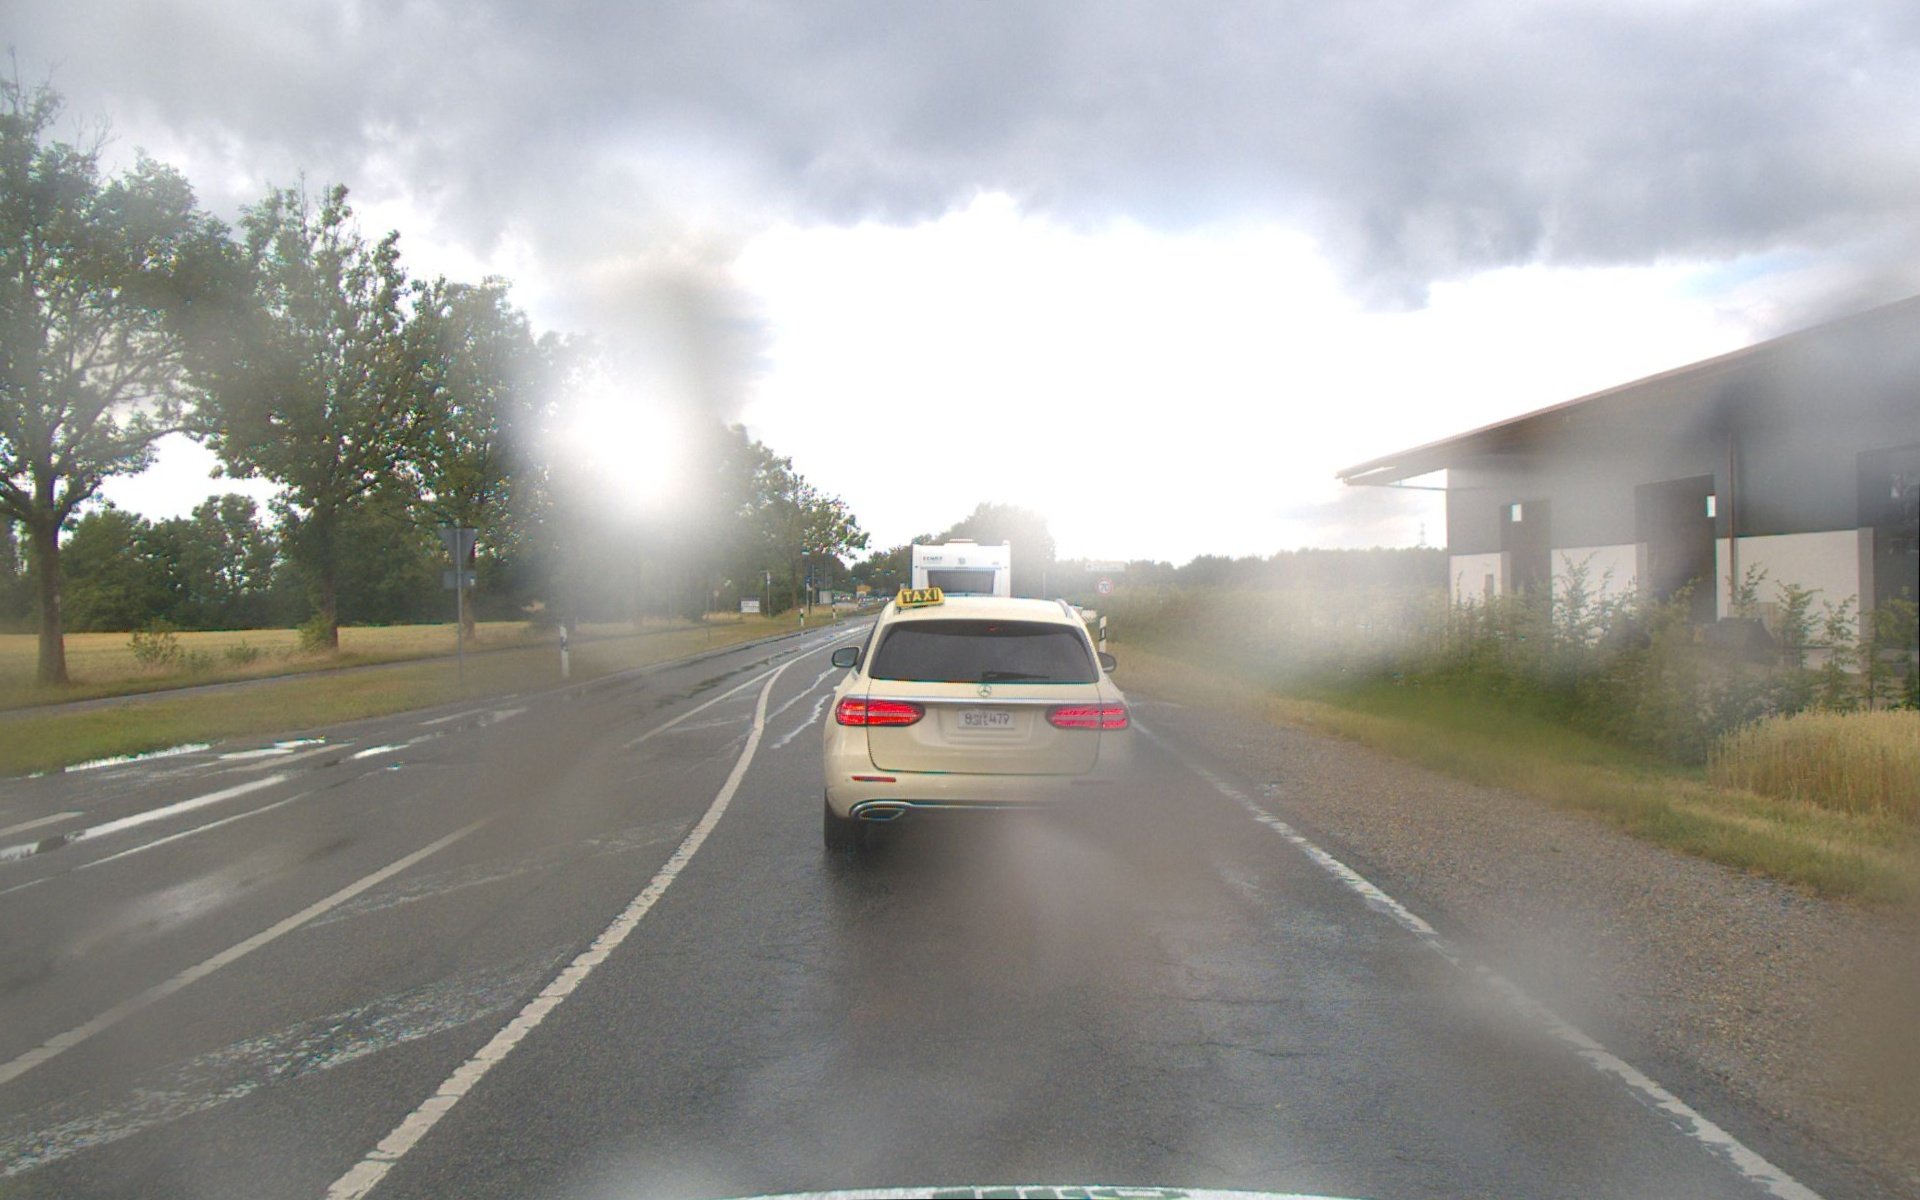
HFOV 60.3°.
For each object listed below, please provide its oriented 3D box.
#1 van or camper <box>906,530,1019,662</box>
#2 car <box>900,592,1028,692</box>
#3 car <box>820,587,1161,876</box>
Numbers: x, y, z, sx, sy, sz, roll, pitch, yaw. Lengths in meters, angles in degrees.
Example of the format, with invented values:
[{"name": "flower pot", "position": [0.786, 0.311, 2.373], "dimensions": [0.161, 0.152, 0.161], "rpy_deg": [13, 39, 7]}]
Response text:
[{"name": "van or camper", "position": [0.068, -0.096, 39.937], "dimensions": [2.446, 2.880, 5.934], "rpy_deg": [-2, 0, 0]}, {"name": "car", "position": [0.038, 0.610, 26.036], "dimensions": [1.856, 1.454, 3.927], "rpy_deg": [0, 0, -1]}, {"name": "car", "position": [0.156, 0.675, 10.636], "dimensions": [1.760, 1.490, 4.030], "rpy_deg": [1, 0, 0]}]
